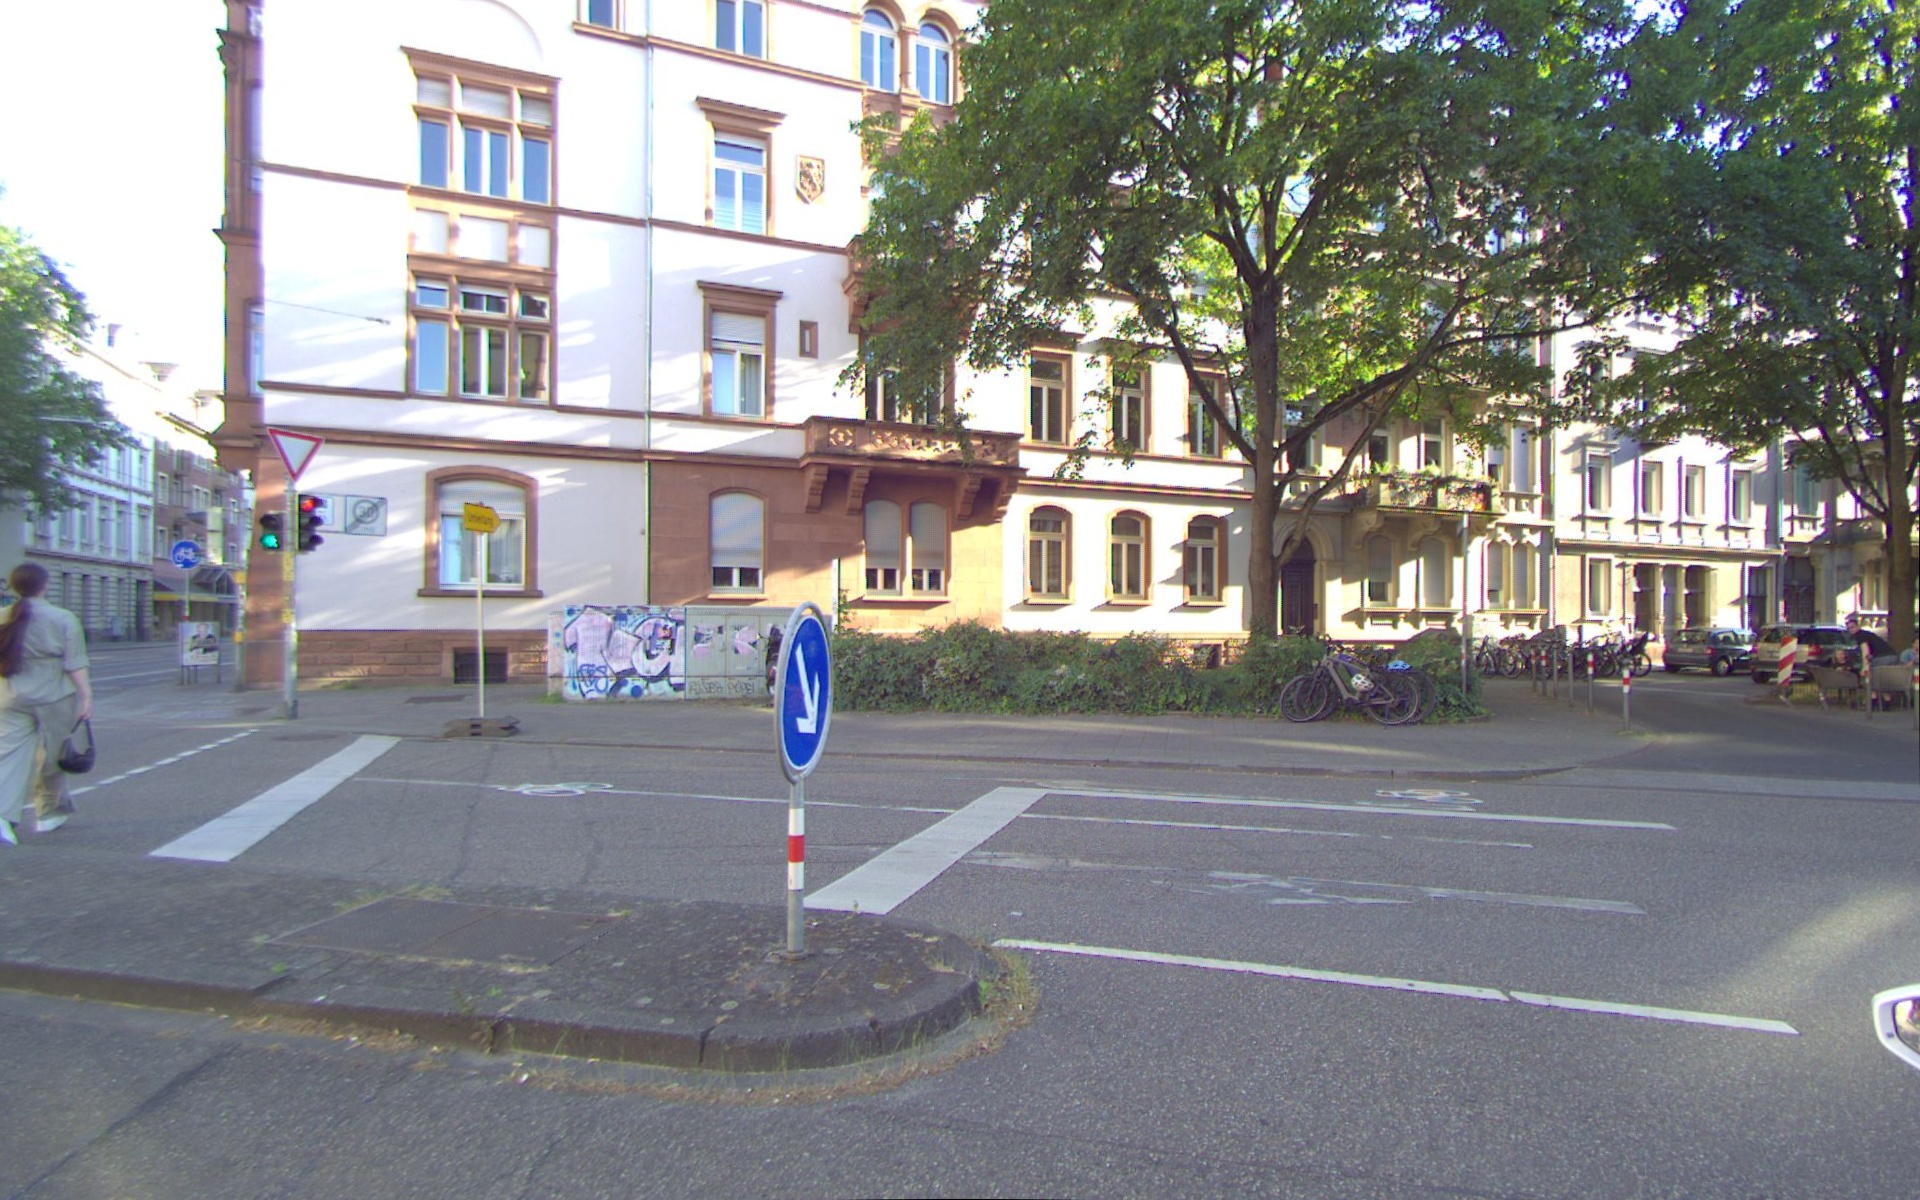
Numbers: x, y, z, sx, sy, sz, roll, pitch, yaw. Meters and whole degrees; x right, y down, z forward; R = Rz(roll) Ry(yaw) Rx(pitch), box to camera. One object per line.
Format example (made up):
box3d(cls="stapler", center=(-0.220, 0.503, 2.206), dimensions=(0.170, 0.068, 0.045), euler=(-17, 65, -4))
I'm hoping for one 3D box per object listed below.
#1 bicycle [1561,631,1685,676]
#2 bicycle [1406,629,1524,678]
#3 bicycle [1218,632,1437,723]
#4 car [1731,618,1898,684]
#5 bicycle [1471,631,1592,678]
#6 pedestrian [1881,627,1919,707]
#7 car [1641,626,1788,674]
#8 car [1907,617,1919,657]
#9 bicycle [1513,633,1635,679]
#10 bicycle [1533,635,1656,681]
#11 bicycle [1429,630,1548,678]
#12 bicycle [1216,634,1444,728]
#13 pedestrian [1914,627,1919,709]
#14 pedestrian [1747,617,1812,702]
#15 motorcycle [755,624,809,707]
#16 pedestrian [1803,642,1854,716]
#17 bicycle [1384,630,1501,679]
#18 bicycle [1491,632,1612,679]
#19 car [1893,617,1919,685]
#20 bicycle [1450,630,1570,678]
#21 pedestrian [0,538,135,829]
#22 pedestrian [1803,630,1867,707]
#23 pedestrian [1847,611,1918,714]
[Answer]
box3d(cls="bicycle", center=(18.997, 1.515, 28.905), dimensions=(0.741, 1.196, 3.121), euler=(1, -1, -21))
box3d(cls="bicycle", center=(13.374, 1.388, 26.741), dimensions=(0.741, 1.196, 3.121), euler=(1, -1, -21))
box3d(cls="bicycle", center=(5.207, 1.080, 14.417), dimensions=(2.900, 1.212, 0.548), euler=(0, -1, 17))
box3d(cls="car", center=(23.548, 1.376, 27.691), dimensions=(3.944, 1.706, 1.989), euler=(1, -1, -24))
box3d(cls="bicycle", center=(15.639, 1.469, 27.631), dimensions=(0.741, 1.196, 3.121), euler=(1, -1, -21))
box3d(cls="pedestrian", center=(17.689, 1.234, 18.588), dimensions=(0.753, 1.460, 0.667), euler=(-1, -3, 25))
box3d(cls="car", center=(22.937, 1.487, 30.556), dimensions=(3.696, 1.394, 1.920), euler=(1, -1, -21))
box3d(cls="car", center=(36.071, 1.330, 35.870), dimensions=(3.696, 1.394, 1.920), euler=(1, -1, -21))
box3d(cls="bicycle", center=(17.165, 1.530, 28.207), dimensions=(0.741, 1.196, 3.121), euler=(1, -1, -21))
box3d(cls="bicycle", center=(17.935, 1.605, 28.526), dimensions=(0.741, 1.196, 3.121), euler=(1, -1, -21))
box3d(cls="bicycle", center=(14.157, 1.411, 27.036), dimensions=(0.741, 1.196, 3.121), euler=(1, -1, -21))
box3d(cls="bicycle", center=(5.036, 1.084, 13.847), dimensions=(2.900, 1.212, 0.548), euler=(0, -1, 17))
box3d(cls="pedestrian", center=(17.317, 1.197, 17.527), dimensions=(0.753, 1.460, 0.667), euler=(-1, -3, 25))
box3d(cls="pedestrian", center=(16.569, 1.197, 20.336), dimensions=(0.751, 1.691, 0.668), euler=(-1, -2, 11))
box3d(cls="motorcycle", center=(-2.962, 1.037, 16.585), dimensions=(0.828, 1.282, 2.106), euler=(0, -1, -12))
box3d(cls="pedestrian", center=(16.107, 1.453, 18.639), dimensions=(0.561, 1.338, 0.505), euler=(-1, -1, 24))
box3d(cls="bicycle", center=(12.608, 1.392, 26.410), dimensions=(0.741, 1.196, 3.121), euler=(1, -1, -21))
box3d(cls="bicycle", center=(16.376, 1.499, 27.944), dimensions=(0.741, 1.196, 3.121), euler=(1, -1, -21))
box3d(cls="car", center=(24.159, 1.196, 23.096), dimensions=(3.776, 1.582, 1.796), euler=(-1, -1, 38))
box3d(cls="bicycle", center=(14.883, 1.438, 27.315), dimensions=(0.741, 1.196, 3.121), euler=(1, -1, -21))
box3d(cls="pedestrian", center=(-5.898, 0.501, 6.390), dimensions=(0.860, 1.720, 0.976), euler=(1, -1, -32))
box3d(cls="pedestrian", center=(16.674, 1.291, 19.161), dimensions=(0.753, 1.430, 0.667), euler=(-1, -3, 27))
box3d(cls="pedestrian", center=(16.493, 1.117, 17.976), dimensions=(0.753, 1.793, 0.571), euler=(-1, -3, 25))
